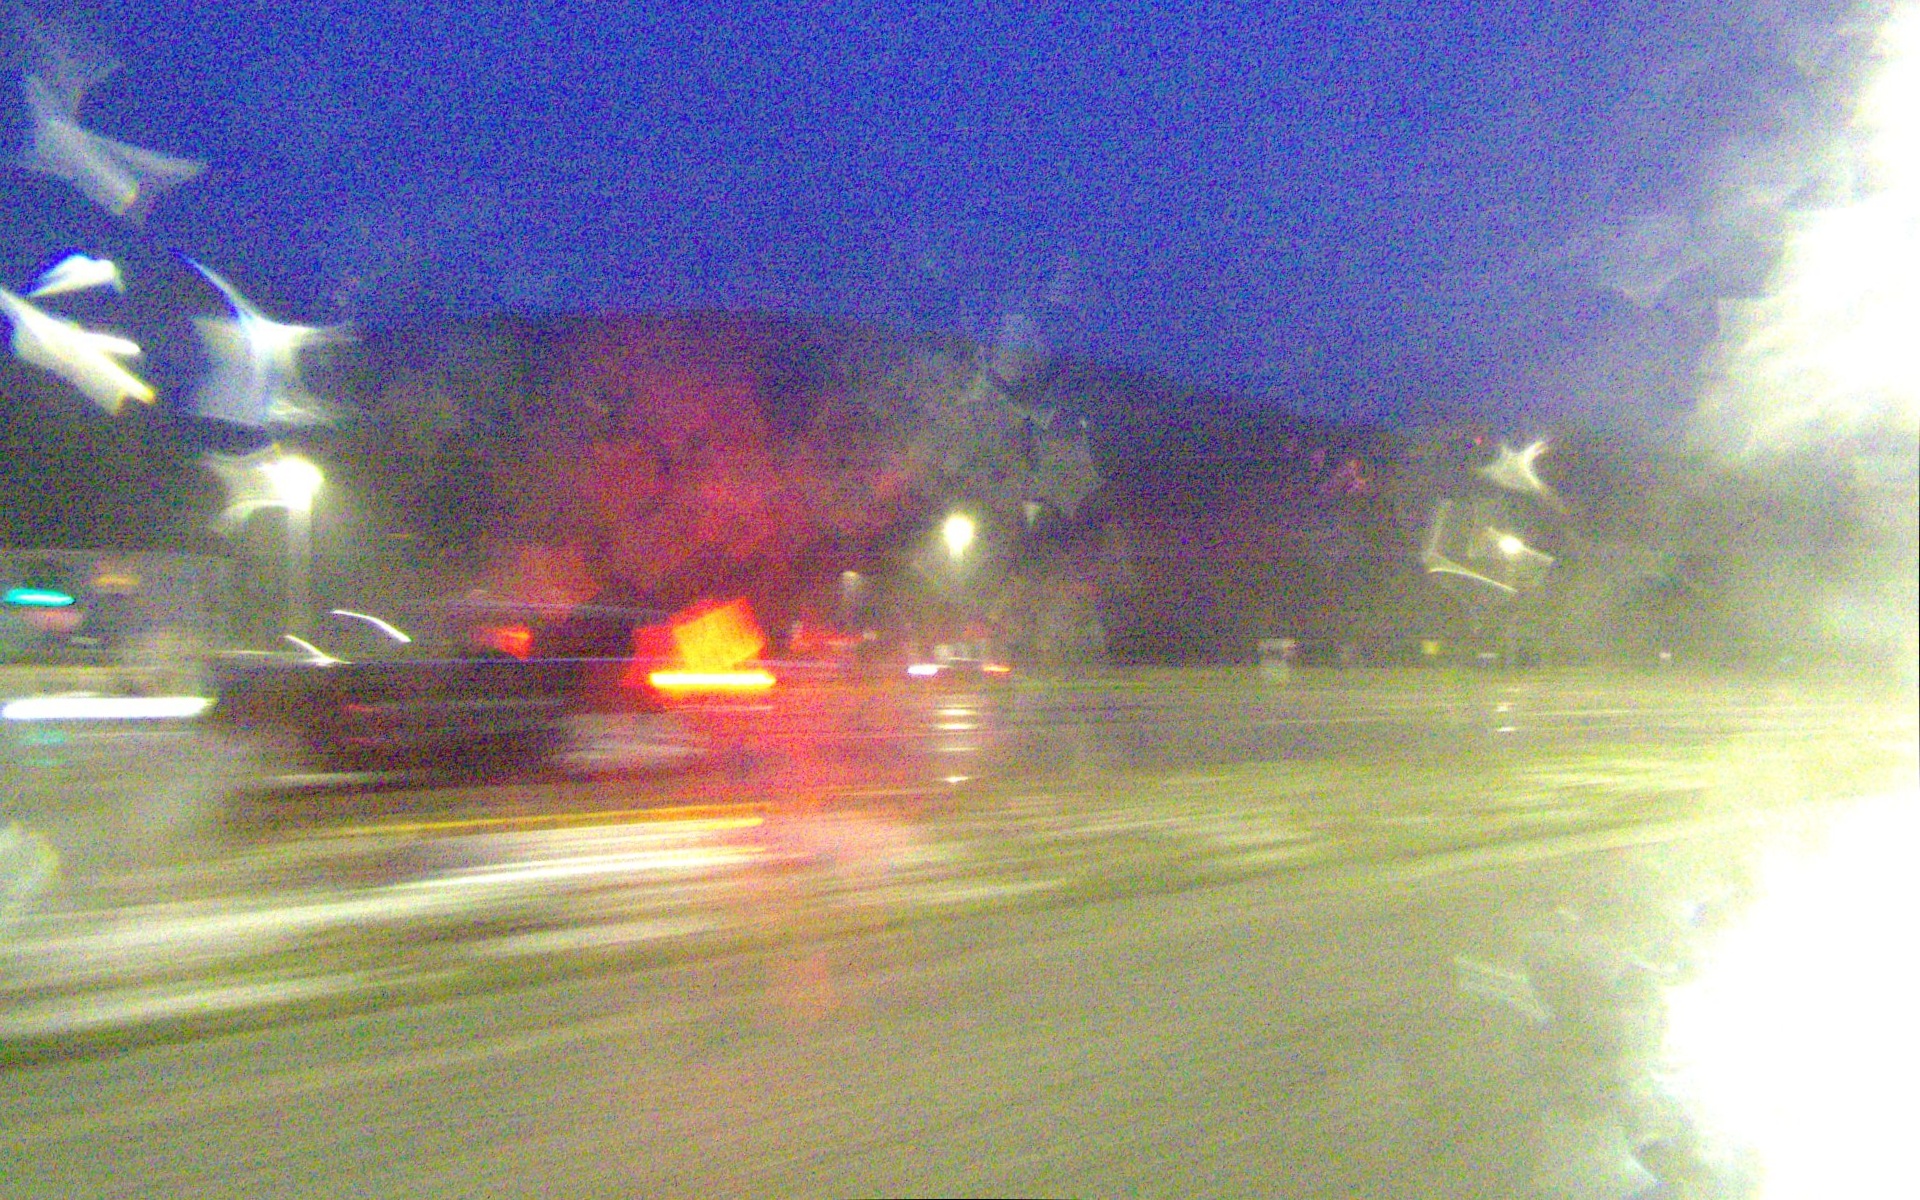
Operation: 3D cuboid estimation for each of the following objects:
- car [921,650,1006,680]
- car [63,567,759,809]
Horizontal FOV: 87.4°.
[{"bbox_3d":[0.160,3.555,55.416,4.469,1.416,1.999,2,-2,-6],"label":"car"},{"bbox_3d":[-4.146,0.687,8.320,4.545,1.554,1.701,3,-2,-29],"label":"car"}]
